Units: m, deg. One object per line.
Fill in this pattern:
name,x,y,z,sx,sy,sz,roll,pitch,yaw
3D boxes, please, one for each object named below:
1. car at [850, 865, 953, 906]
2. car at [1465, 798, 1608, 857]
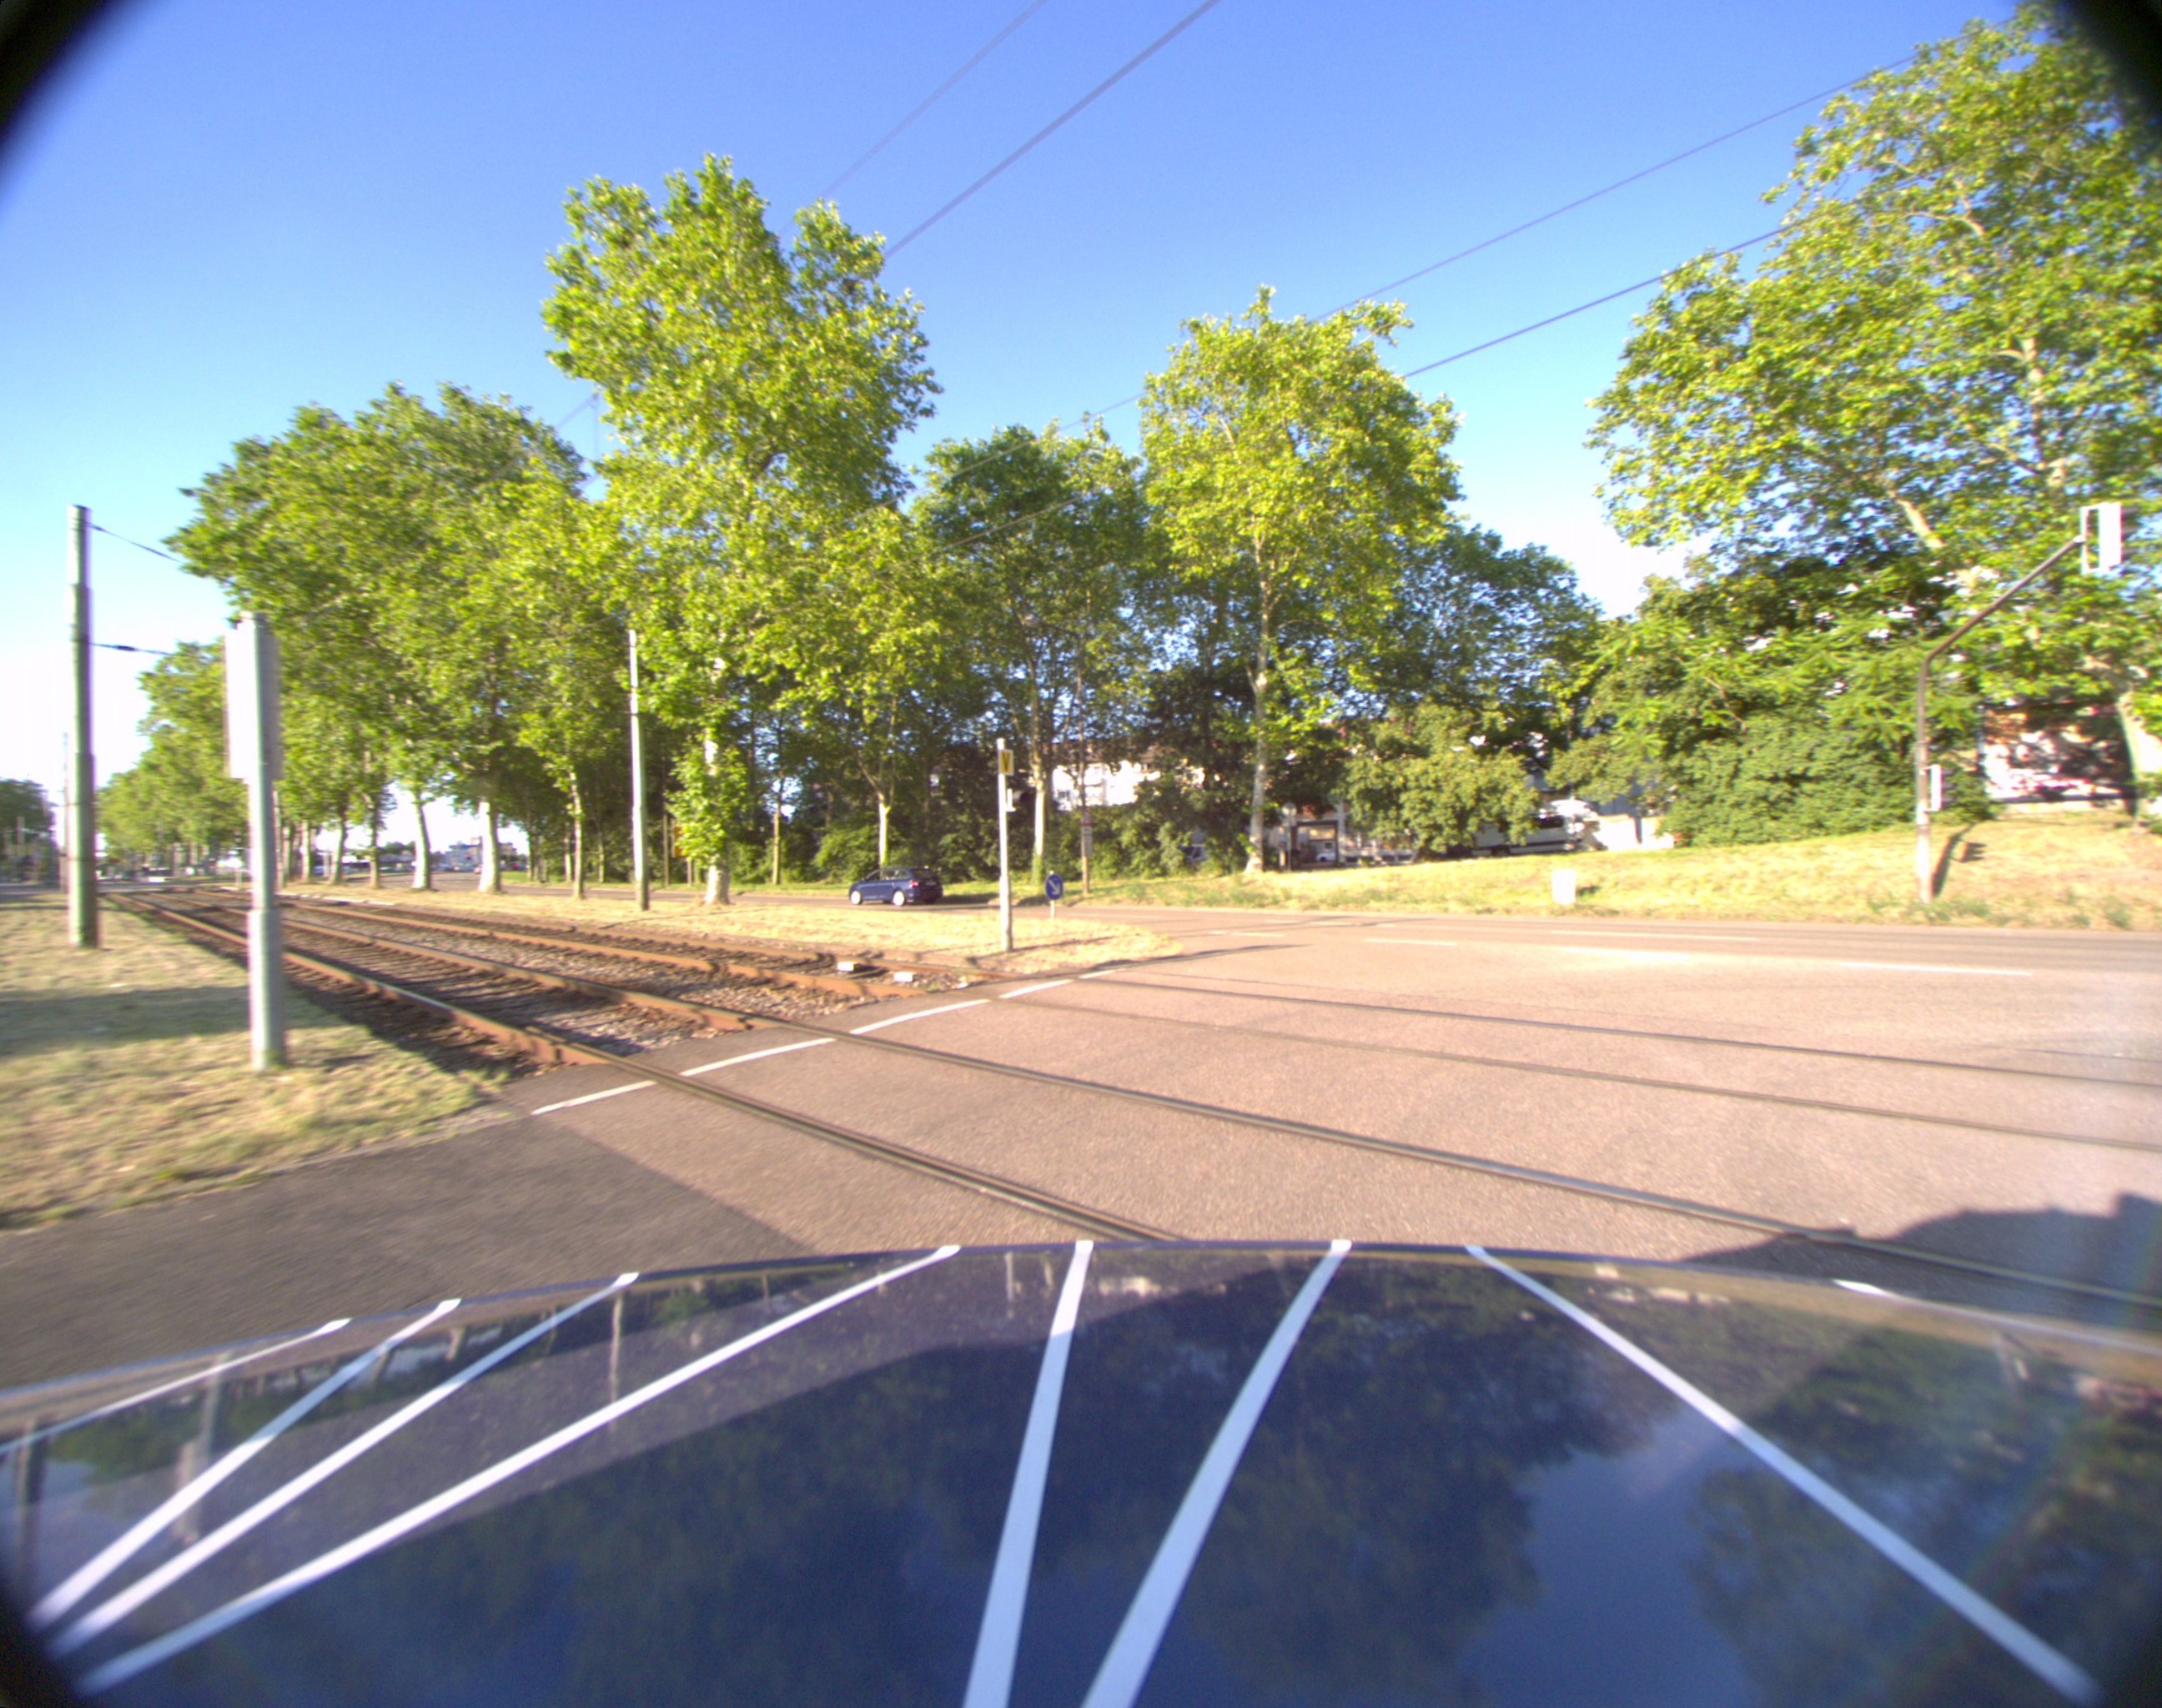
car,-6.877,1.185,28.931,3.974,1.433,1.633,-2,-1,37
car,21.735,-1.168,36.446,5.612,2.498,1.811,-2,-1,42
